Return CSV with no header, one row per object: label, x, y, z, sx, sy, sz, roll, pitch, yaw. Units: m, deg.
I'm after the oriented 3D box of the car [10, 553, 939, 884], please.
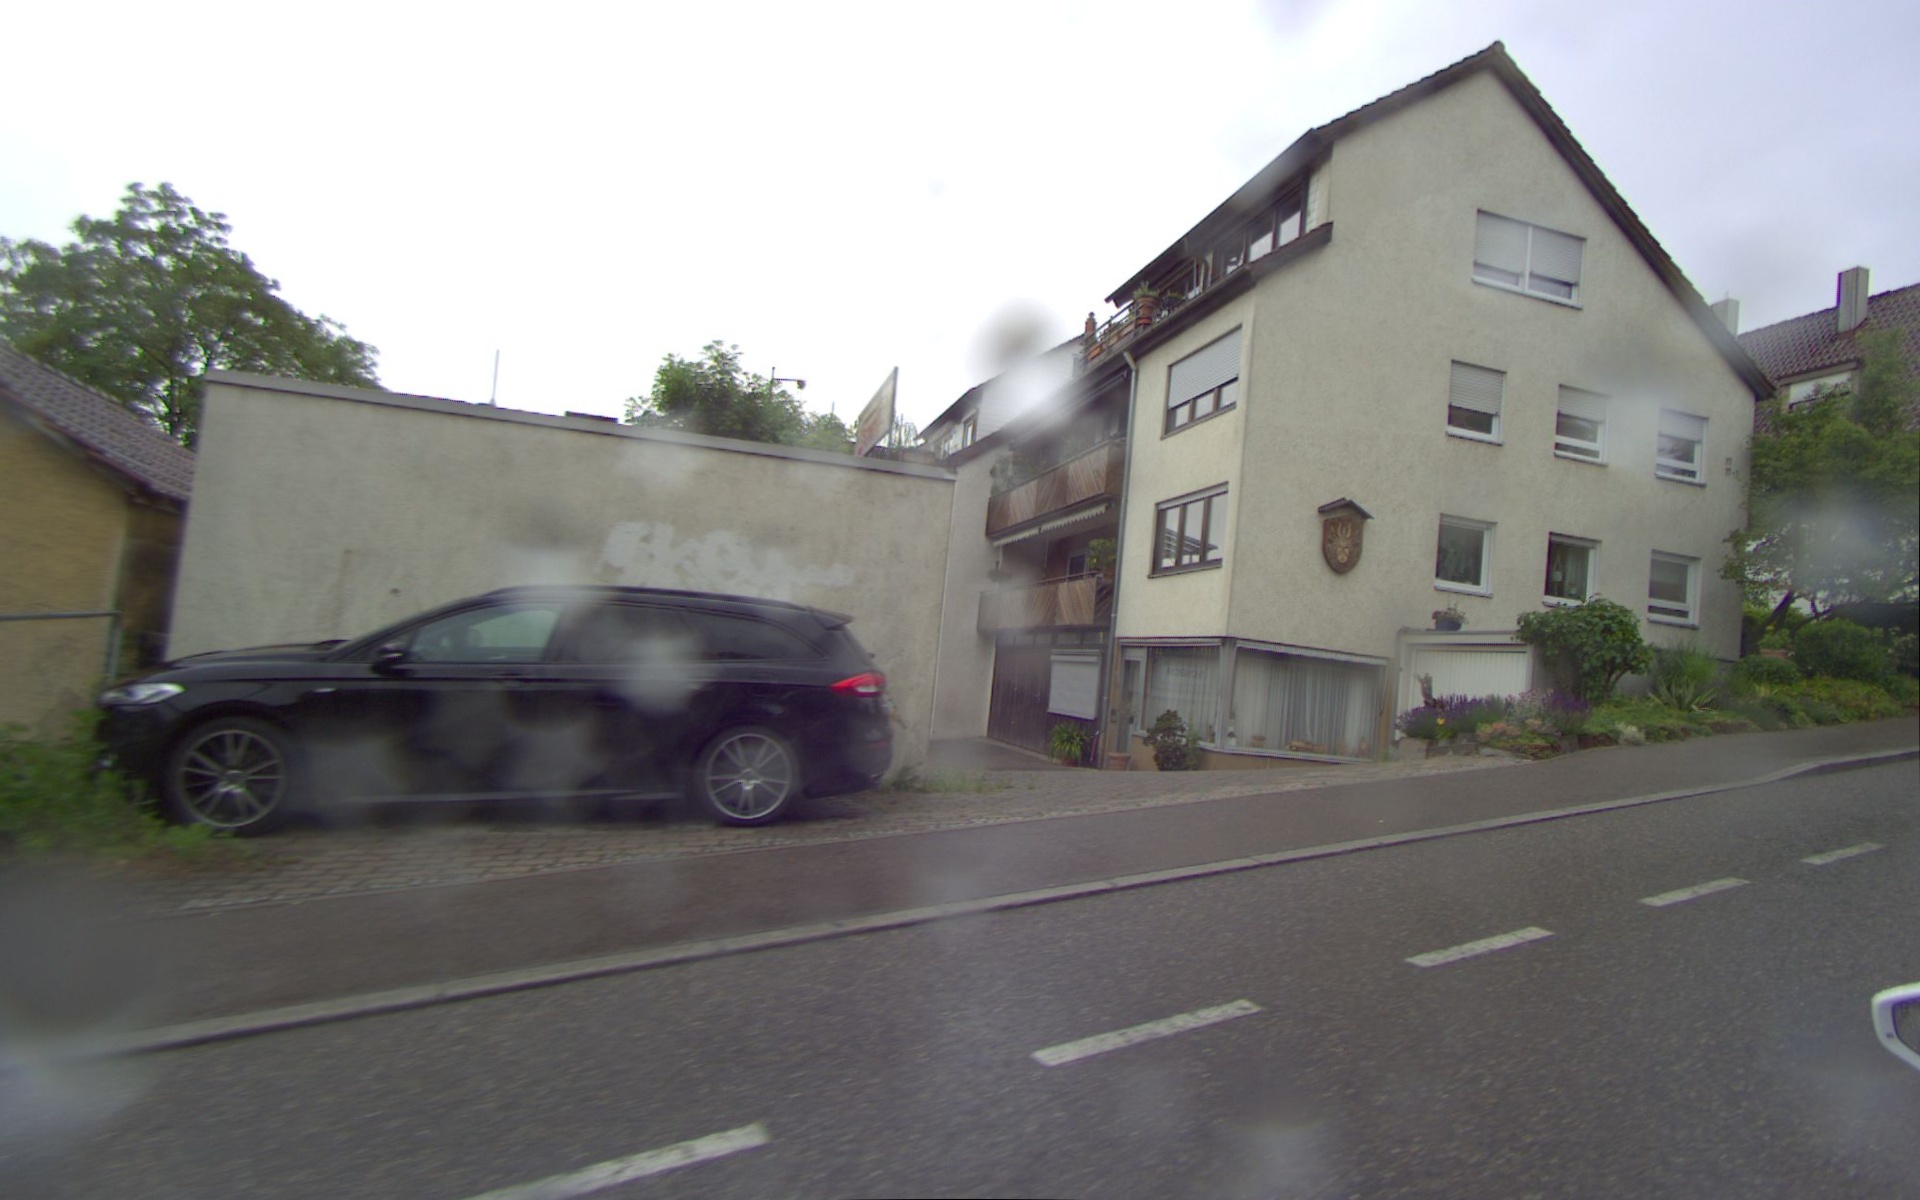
car,-2.756,0.678,6.788,4.883,1.681,1.973,1,-2,-17
